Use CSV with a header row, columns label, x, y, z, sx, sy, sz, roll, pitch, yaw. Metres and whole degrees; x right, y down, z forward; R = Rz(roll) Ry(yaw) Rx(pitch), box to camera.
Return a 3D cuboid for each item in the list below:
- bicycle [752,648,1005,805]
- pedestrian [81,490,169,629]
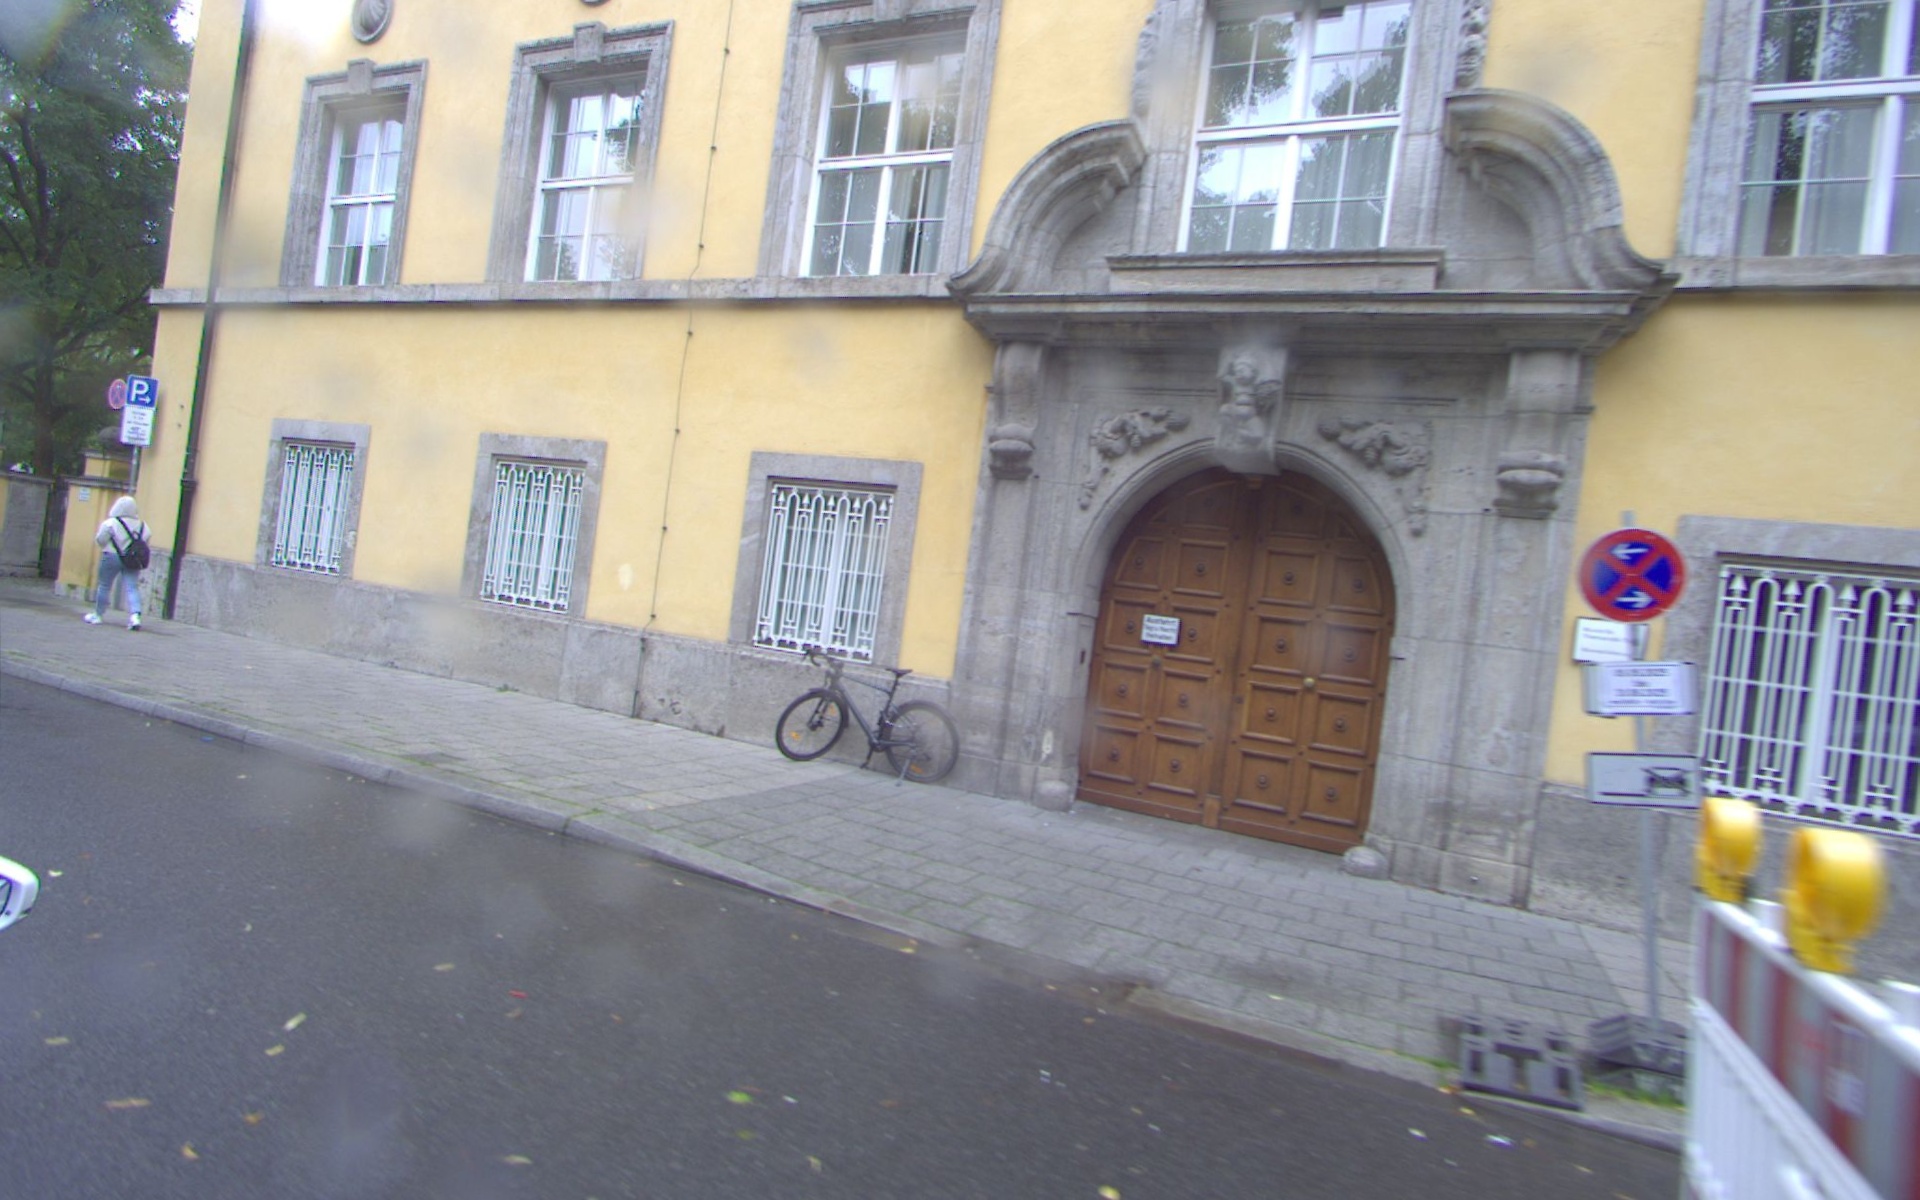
label,x,y,z,sx,sy,sz,roll,pitch,yaw
bicycle,-0.720,1.055,8.745,2.020,1.018,0.682,6,-1,24
pedestrian,-10.447,-0.494,12.590,0.561,1.659,0.561,7,2,24
